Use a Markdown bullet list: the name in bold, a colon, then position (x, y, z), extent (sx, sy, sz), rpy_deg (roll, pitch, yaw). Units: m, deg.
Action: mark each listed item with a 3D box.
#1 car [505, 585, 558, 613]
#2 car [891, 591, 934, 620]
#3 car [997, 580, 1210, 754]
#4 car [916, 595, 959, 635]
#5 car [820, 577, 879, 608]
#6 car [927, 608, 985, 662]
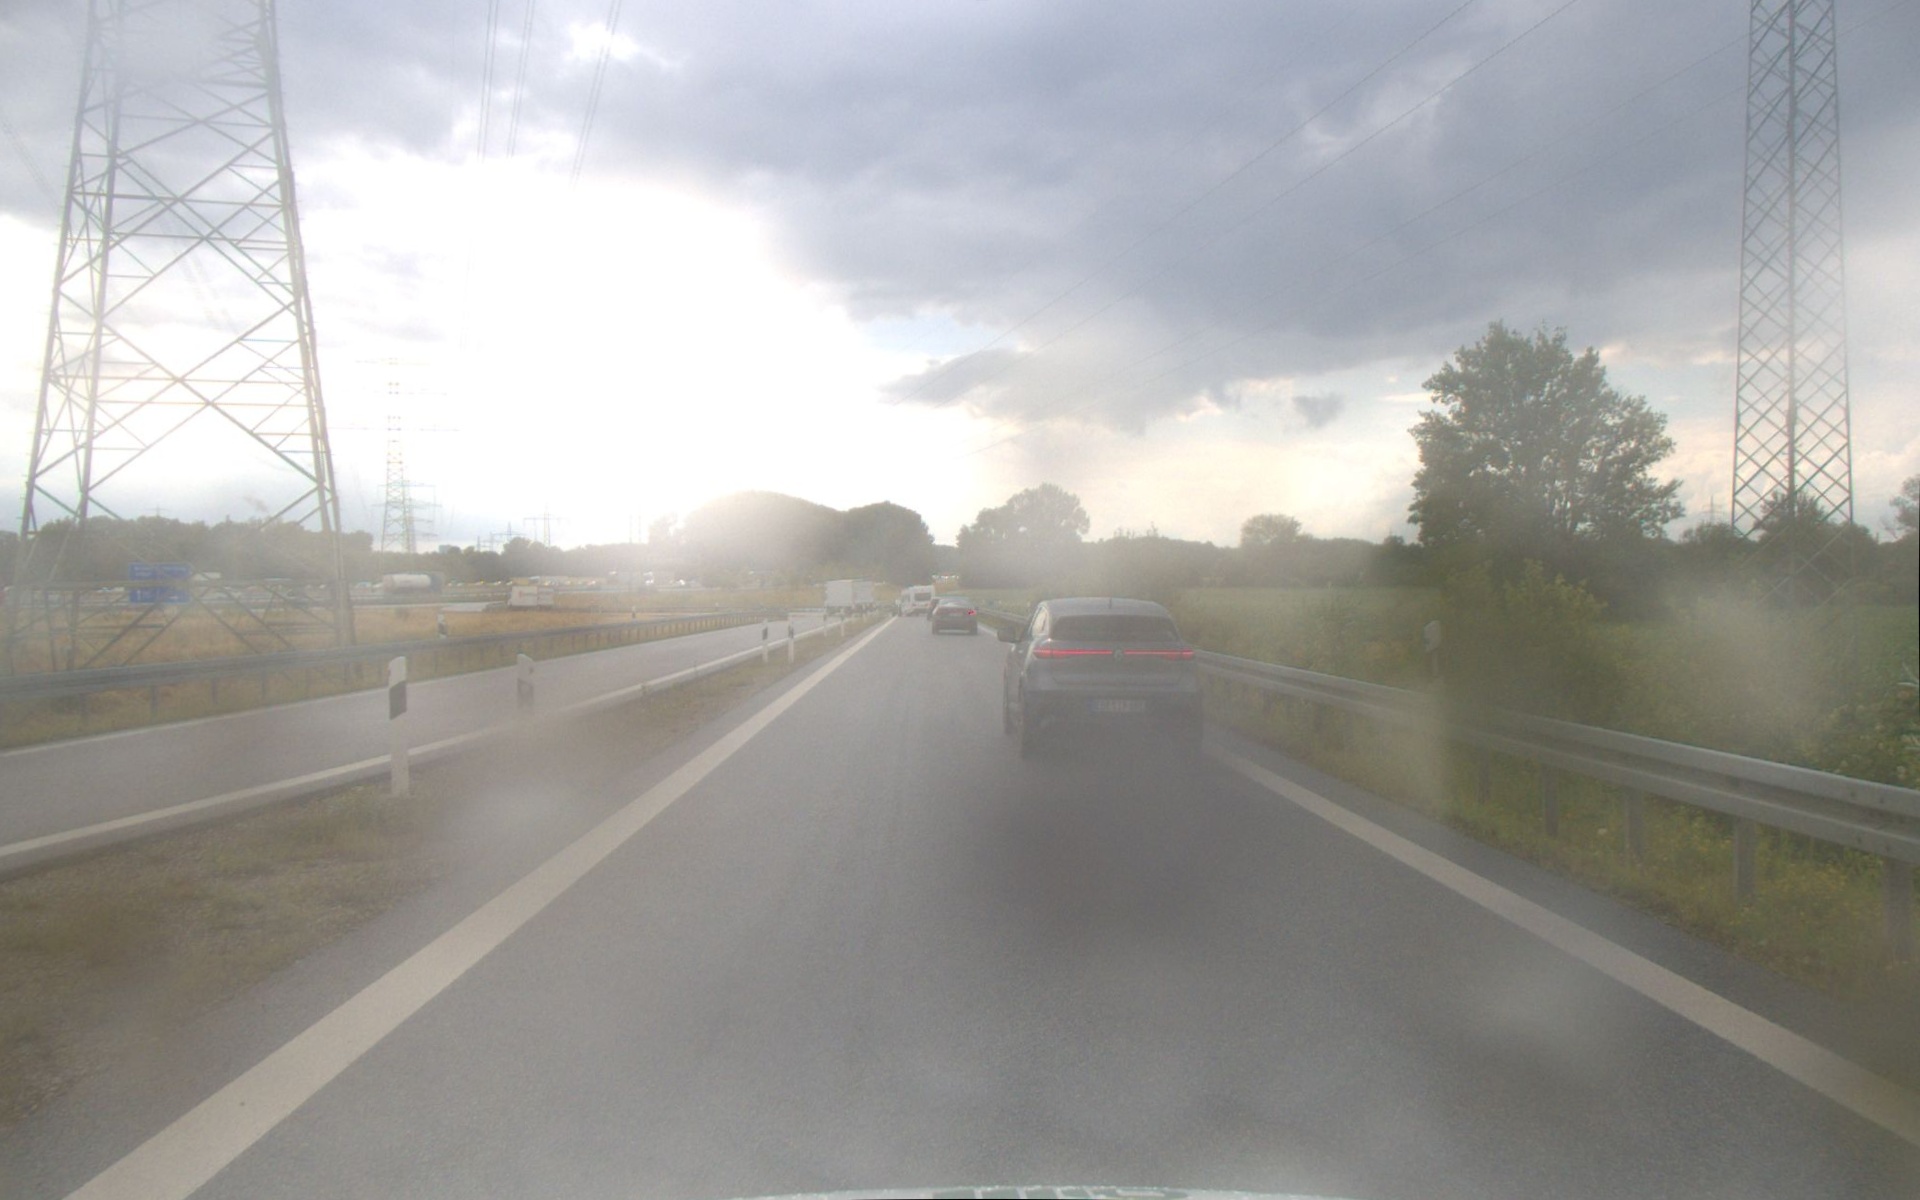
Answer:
- **car**: position (-57.591, -0.144, 222.251), extent (3.363, 3.673, 8.912), rpy_deg (-1, 0, -40)
- **car**: position (-4.267, 0.447, 147.198), extent (2.317, 2.347, 5.099), rpy_deg (-1, 3, -20)
- **car**: position (1.381, 0.607, 17.518), extent (1.952, 1.594, 4.149), rpy_deg (1, 0, 1)
- **car**: position (-1.518, 0.946, 109.058), extent (2.307, 2.347, 5.121), rpy_deg (-1, 2, -8)
- **car**: position (-11.506, -0.818, 171.870), extent (3.106, 3.002, 7.130), rpy_deg (-2, 3, -32)
- **car**: position (-0.225, 1.422, 69.529), extent (2.079, 2.053, 5.530), rpy_deg (-1, 1, -4)
